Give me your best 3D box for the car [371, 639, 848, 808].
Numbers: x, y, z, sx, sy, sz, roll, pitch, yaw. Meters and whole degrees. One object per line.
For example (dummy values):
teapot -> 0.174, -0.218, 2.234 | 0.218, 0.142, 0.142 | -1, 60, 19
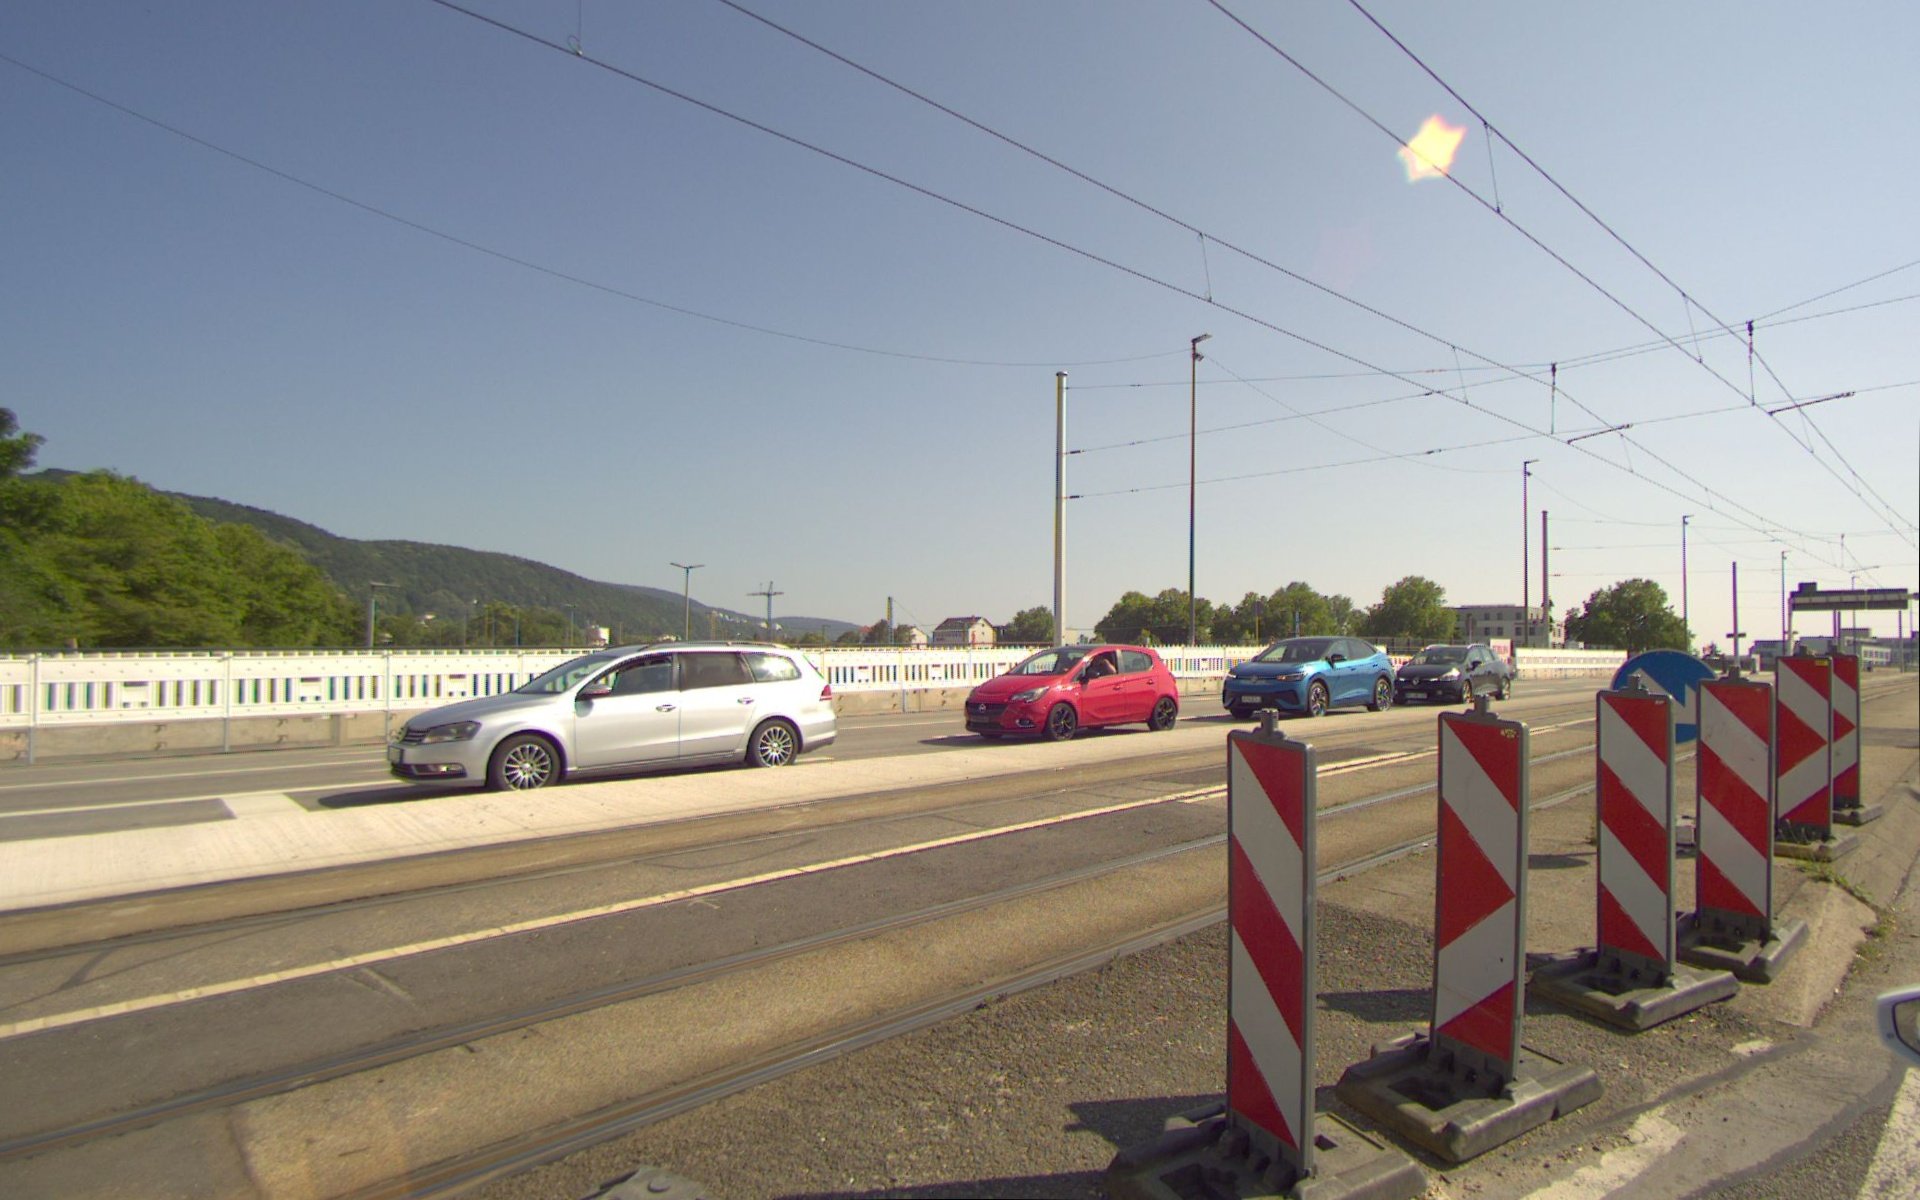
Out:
car -> -3.570, 1.179, 10.860 | 4.609, 1.456, 1.623 | 2, -5, -42

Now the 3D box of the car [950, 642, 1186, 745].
car -> 1.816, 1.418, 16.102 | 3.950, 1.456, 1.520 | 2, -4, -42

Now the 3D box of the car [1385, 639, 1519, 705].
car -> 12.283, 1.759, 24.983 | 4.145, 1.520, 1.492 | 2, -5, -41

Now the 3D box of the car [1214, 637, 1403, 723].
car -> 7.197, 1.564, 20.501 | 4.522, 1.570, 1.655 | 2, -4, -42
